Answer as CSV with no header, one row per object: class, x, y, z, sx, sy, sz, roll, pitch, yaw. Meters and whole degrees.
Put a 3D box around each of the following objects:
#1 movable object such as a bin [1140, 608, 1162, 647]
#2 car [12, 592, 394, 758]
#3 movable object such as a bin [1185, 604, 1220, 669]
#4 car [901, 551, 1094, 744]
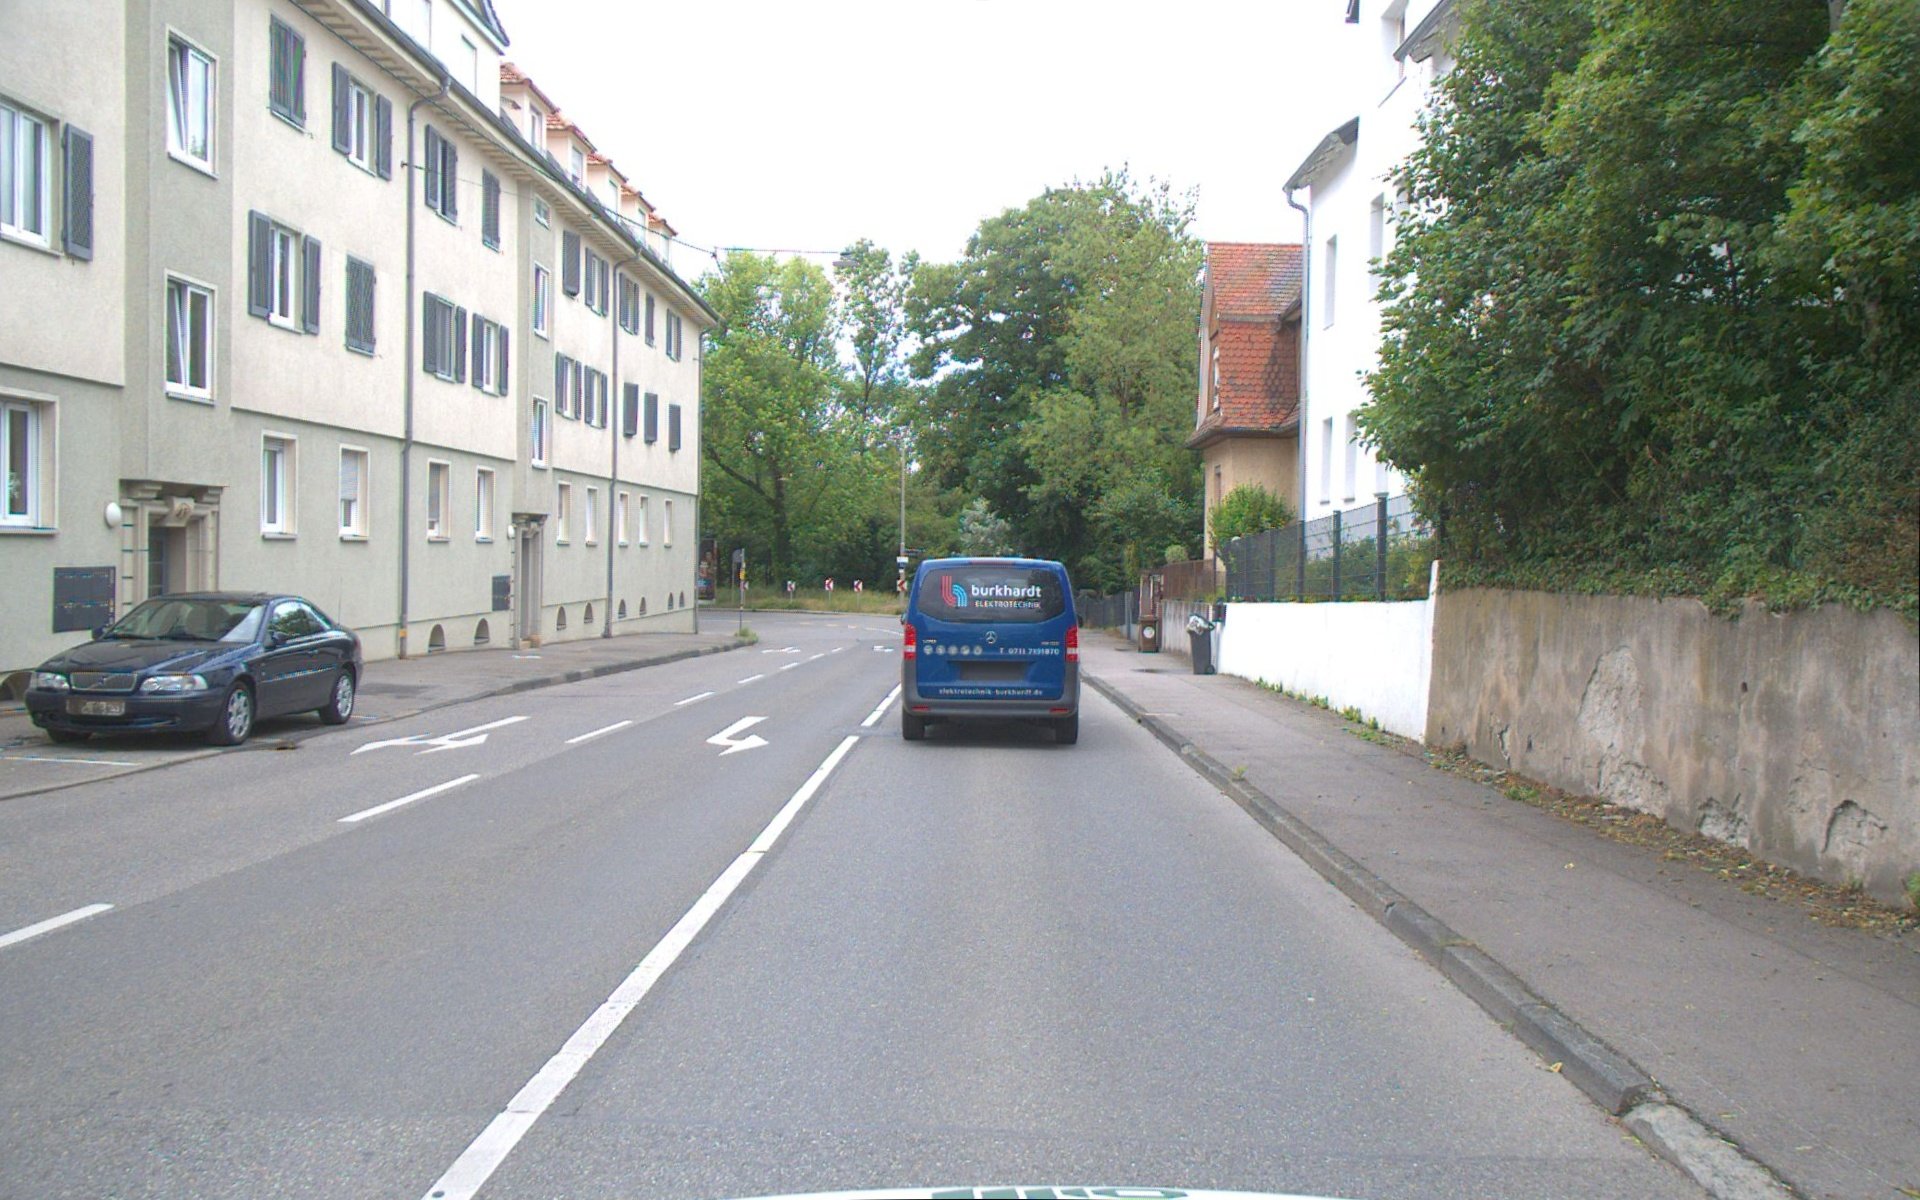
movable object such as a bin,4.827,0.691,41.878,0.452,0.940,0.566,-3,0,0
car,-7.485,0.647,16.964,1.675,1.427,4.846,0,0,0
movable object such as a bin,4.628,0.695,31.530,0.517,1.198,0.634,-3,0,0
car,0.310,0.472,18.322,1.875,1.870,4.292,1,0,-2
